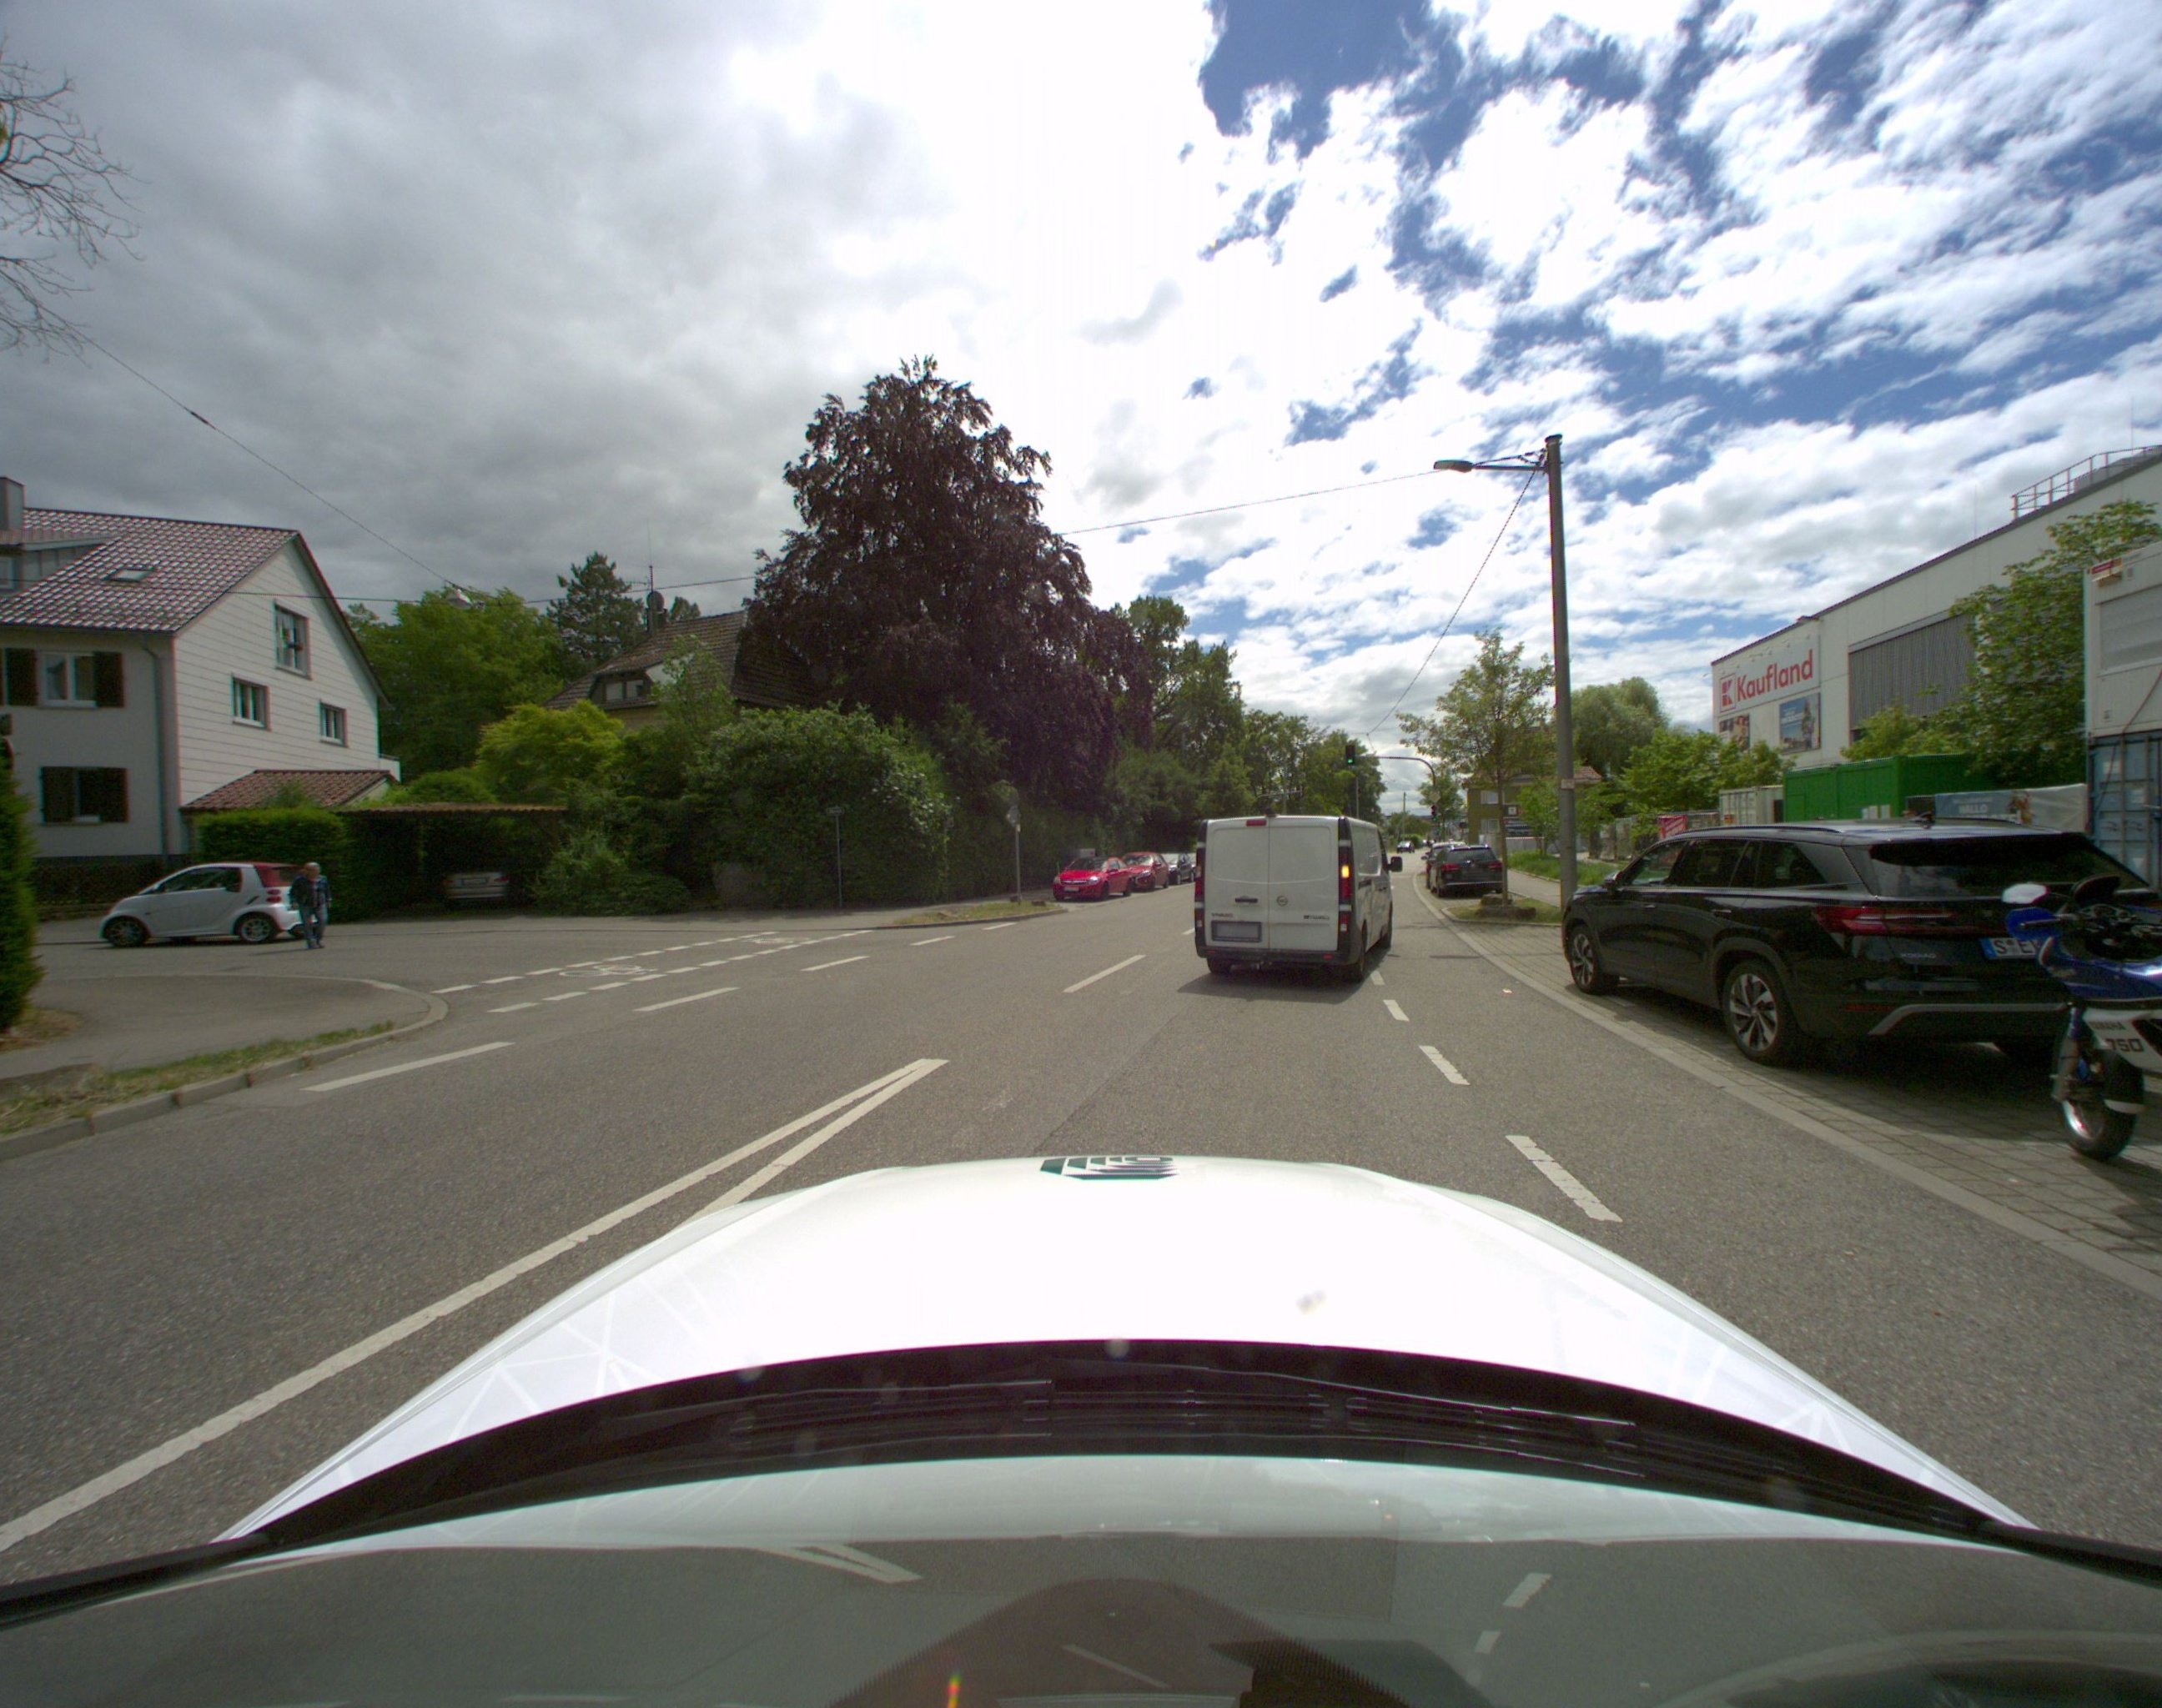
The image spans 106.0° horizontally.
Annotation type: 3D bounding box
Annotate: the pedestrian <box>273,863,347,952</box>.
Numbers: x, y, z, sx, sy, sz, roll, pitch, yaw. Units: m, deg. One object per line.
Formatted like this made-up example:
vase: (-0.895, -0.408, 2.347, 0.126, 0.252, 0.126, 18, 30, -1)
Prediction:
pedestrian: (-13.663, 0.928, 14.455, 0.731, 1.508, 0.624, -1, 0, -19)

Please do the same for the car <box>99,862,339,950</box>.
car: (-16.635, 0.952, 15.876, 2.776, 1.555, 1.580, 0, 0, -17)

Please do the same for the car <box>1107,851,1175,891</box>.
car: (2.469, 0.632, 32.515, 1.635, 1.450, 4.126, 0, 0, 20)

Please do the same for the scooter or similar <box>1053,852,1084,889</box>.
scooter or similar: (-0.502, 0.655, 33.233, 0.664, 1.412, 1.658, -1, 1, 22)

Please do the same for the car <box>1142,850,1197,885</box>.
car: (4.089, 0.581, 37.137, 1.581, 1.450, 3.615, 0, 0, 22)

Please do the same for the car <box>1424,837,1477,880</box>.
car: (15.515, 0.159, 34.367, 1.722, 1.616, 4.409, -4, -1, 21)

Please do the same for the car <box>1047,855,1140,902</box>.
car: (0.538, 0.764, 27.544, 1.646, 1.378, 4.590, 0, 0, 21)

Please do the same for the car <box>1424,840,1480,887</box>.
car: (13.213, 0.301, 29.195, 1.555, 1.493, 4.021, -3, 0, 21)

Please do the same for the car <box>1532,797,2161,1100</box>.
car: (5.699, 0.521, 6.842, 1.867, 1.621, 4.861, -3, 0, 11)

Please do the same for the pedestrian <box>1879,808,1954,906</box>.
pedestrian: (14.943, 0.059, 14.590, 0.645, 1.696, 0.728, -1, 0, 18)

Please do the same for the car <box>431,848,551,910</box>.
car: (-16.093, 0.615, 22.421, 1.730, 1.509, 3.971, -1, 1, -22)

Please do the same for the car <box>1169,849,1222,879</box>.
car: (5.832, 0.461, 41.105, 1.680, 1.365, 4.710, 0, 1, 20)

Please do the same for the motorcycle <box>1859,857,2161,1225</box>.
motorcycle: (4.590, 0.711, 3.194, 1.065, 1.305, 2.266, -4, 0, 9)

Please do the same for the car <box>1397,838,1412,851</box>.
car: (44.293, -1.268, 111.531, 1.817, 1.616, 4.175, -3, 0, 22)

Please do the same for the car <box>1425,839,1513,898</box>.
car: (11.503, 0.382, 24.440, 1.750, 1.477, 4.960, -4, -1, 19)

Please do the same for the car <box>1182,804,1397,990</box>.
car: (3.103, 0.416, 11.197, 1.921, 1.960, 4.862, 1, 1, 26)

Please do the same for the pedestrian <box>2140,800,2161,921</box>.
pedestrian: (14.806, 0.083, 10.717, 0.736, 1.618, 0.771, -1, 0, 18)

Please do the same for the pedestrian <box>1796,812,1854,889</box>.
pedestrian: (16.960, -0.083, 18.580, 0.646, 1.697, 0.848, -1, 0, 18)
